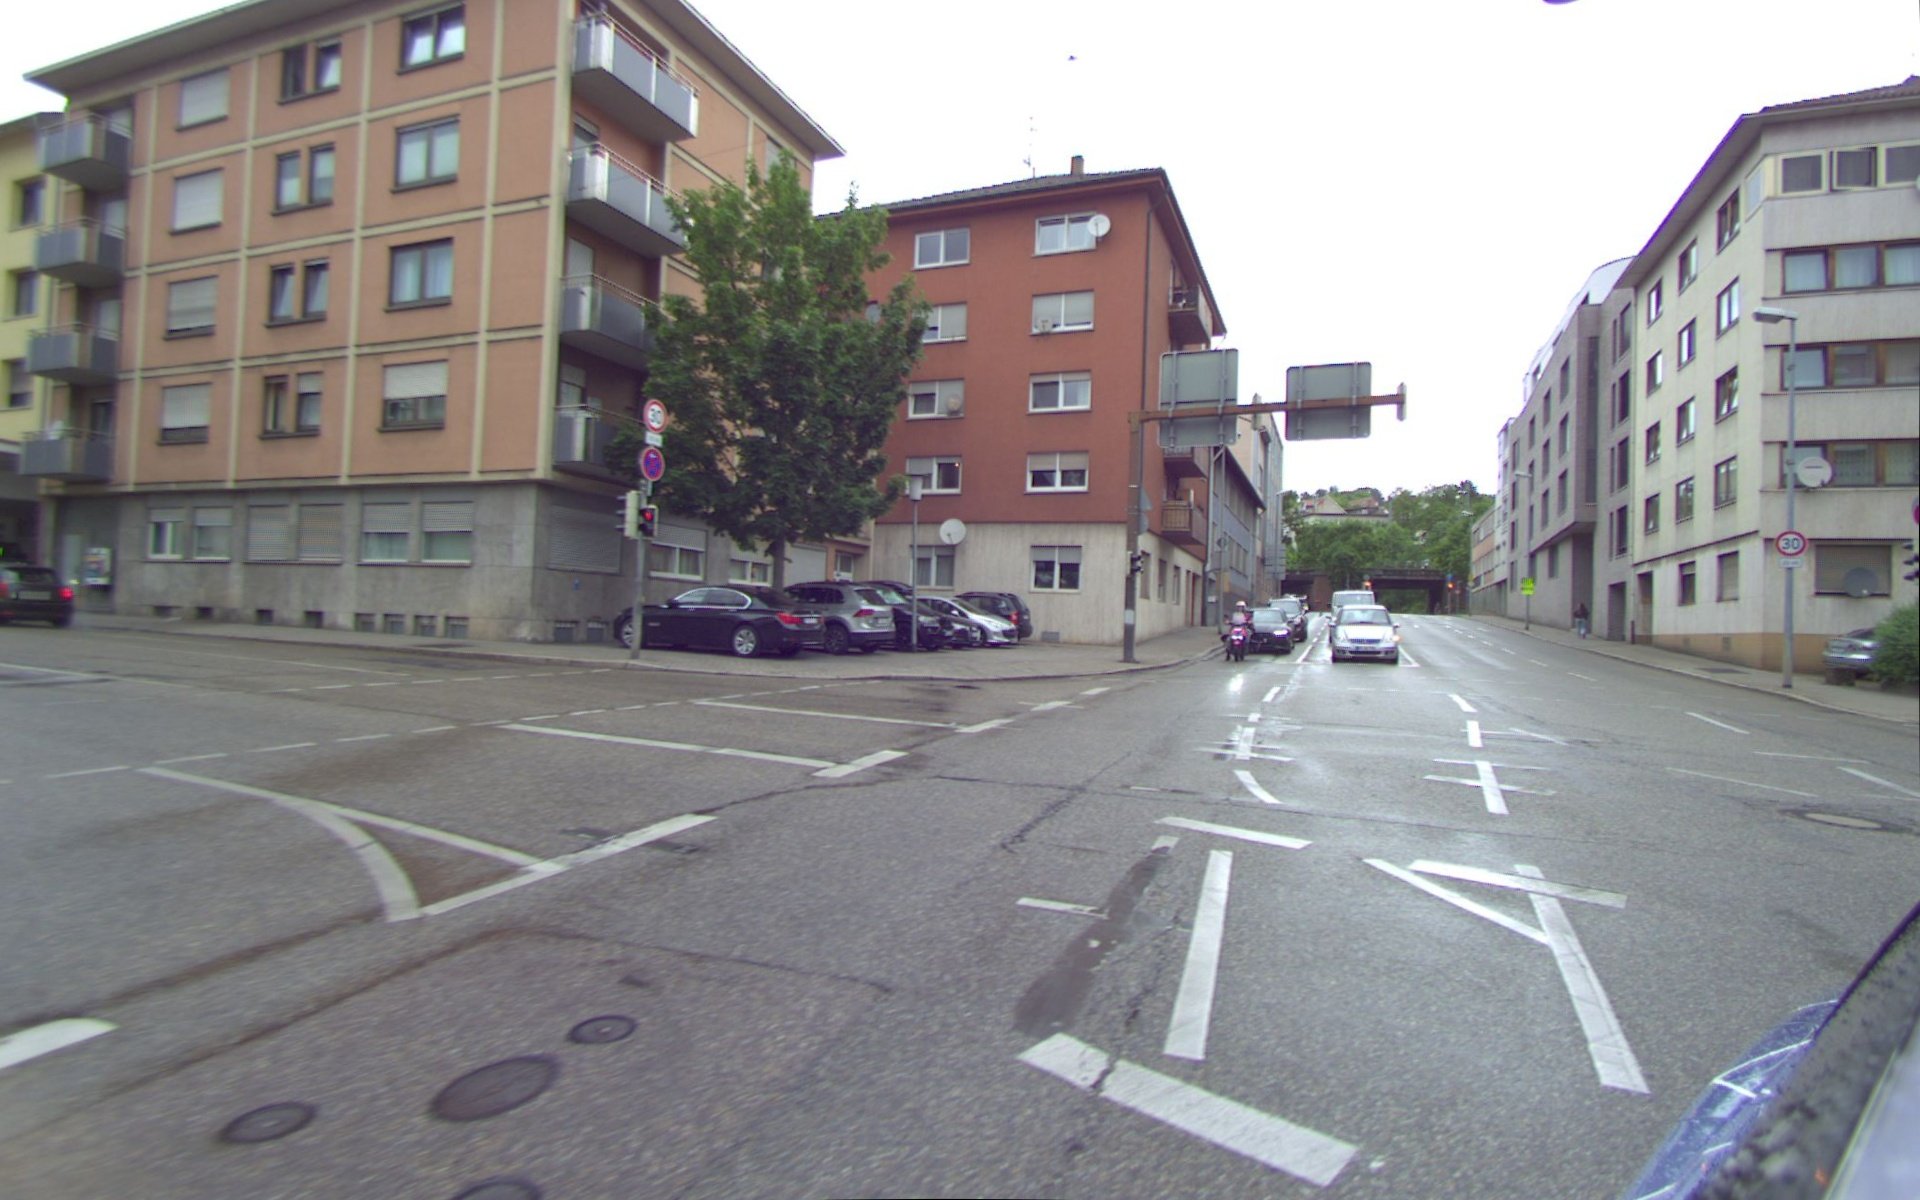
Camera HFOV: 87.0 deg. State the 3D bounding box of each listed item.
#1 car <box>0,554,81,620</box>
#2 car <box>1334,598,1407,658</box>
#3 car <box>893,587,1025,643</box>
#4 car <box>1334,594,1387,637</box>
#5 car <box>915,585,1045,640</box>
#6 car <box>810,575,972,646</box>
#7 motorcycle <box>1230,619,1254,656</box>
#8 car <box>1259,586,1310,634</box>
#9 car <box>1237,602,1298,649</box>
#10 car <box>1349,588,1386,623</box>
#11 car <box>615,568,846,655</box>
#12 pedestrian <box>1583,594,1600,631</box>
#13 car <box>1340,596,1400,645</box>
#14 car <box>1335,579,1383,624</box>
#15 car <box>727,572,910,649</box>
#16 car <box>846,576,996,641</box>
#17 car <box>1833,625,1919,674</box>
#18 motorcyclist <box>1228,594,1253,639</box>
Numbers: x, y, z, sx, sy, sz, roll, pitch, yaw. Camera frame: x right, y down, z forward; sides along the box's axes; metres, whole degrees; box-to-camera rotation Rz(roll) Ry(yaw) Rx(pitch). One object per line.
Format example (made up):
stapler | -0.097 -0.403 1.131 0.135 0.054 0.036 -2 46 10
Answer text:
car | -22.604 -0.353 23.513 4.025 1.438 1.653 2 0 22
car | 11.831 0.762 29.203 1.820 1.574 3.969 1 0 22
car | -0.075 0.480 31.439 3.982 1.603 1.649 -1 -4 41
car | 15.774 0.588 39.750 1.829 1.574 3.969 1 0 23
car | 0.646 0.456 34.195 3.973 1.728 1.975 -1 -3 35
car | -1.864 0.232 26.988 3.973 1.741 1.969 1 0 34
motorcycle | 8.017 1.041 28.851 0.628 0.938 2.354 0 1 15
car | 13.062 0.447 40.616 1.773 1.750 3.970 0 -3 21
car | 10.292 0.794 33.814 1.851 1.460 3.977 1 0 18
car | 23.876 0.331 59.186 1.895 1.883 4.814 0 -2 23
car | -5.021 0.212 22.066 4.746 1.574 1.834 3 0 25
pedestrian | 29.307 0.579 46.959 0.529 1.723 0.501 0 -3 17
car | 14.255 0.673 35.291 1.828 1.574 3.971 1 0 22
car | 18.580 0.122 47.035 1.922 1.940 4.814 0 -2 23
car | -3.431 0.230 24.538 3.957 1.681 1.976 1 0 25
car | -1.133 0.245 29.387 3.960 1.720 1.783 2 -2 26
car | 24.332 1.253 25.500 3.225 1.208 1.371 0 -2 22
motorcyclist | 7.976 0.454 28.773 0.645 1.239 0.655 1 1 16
